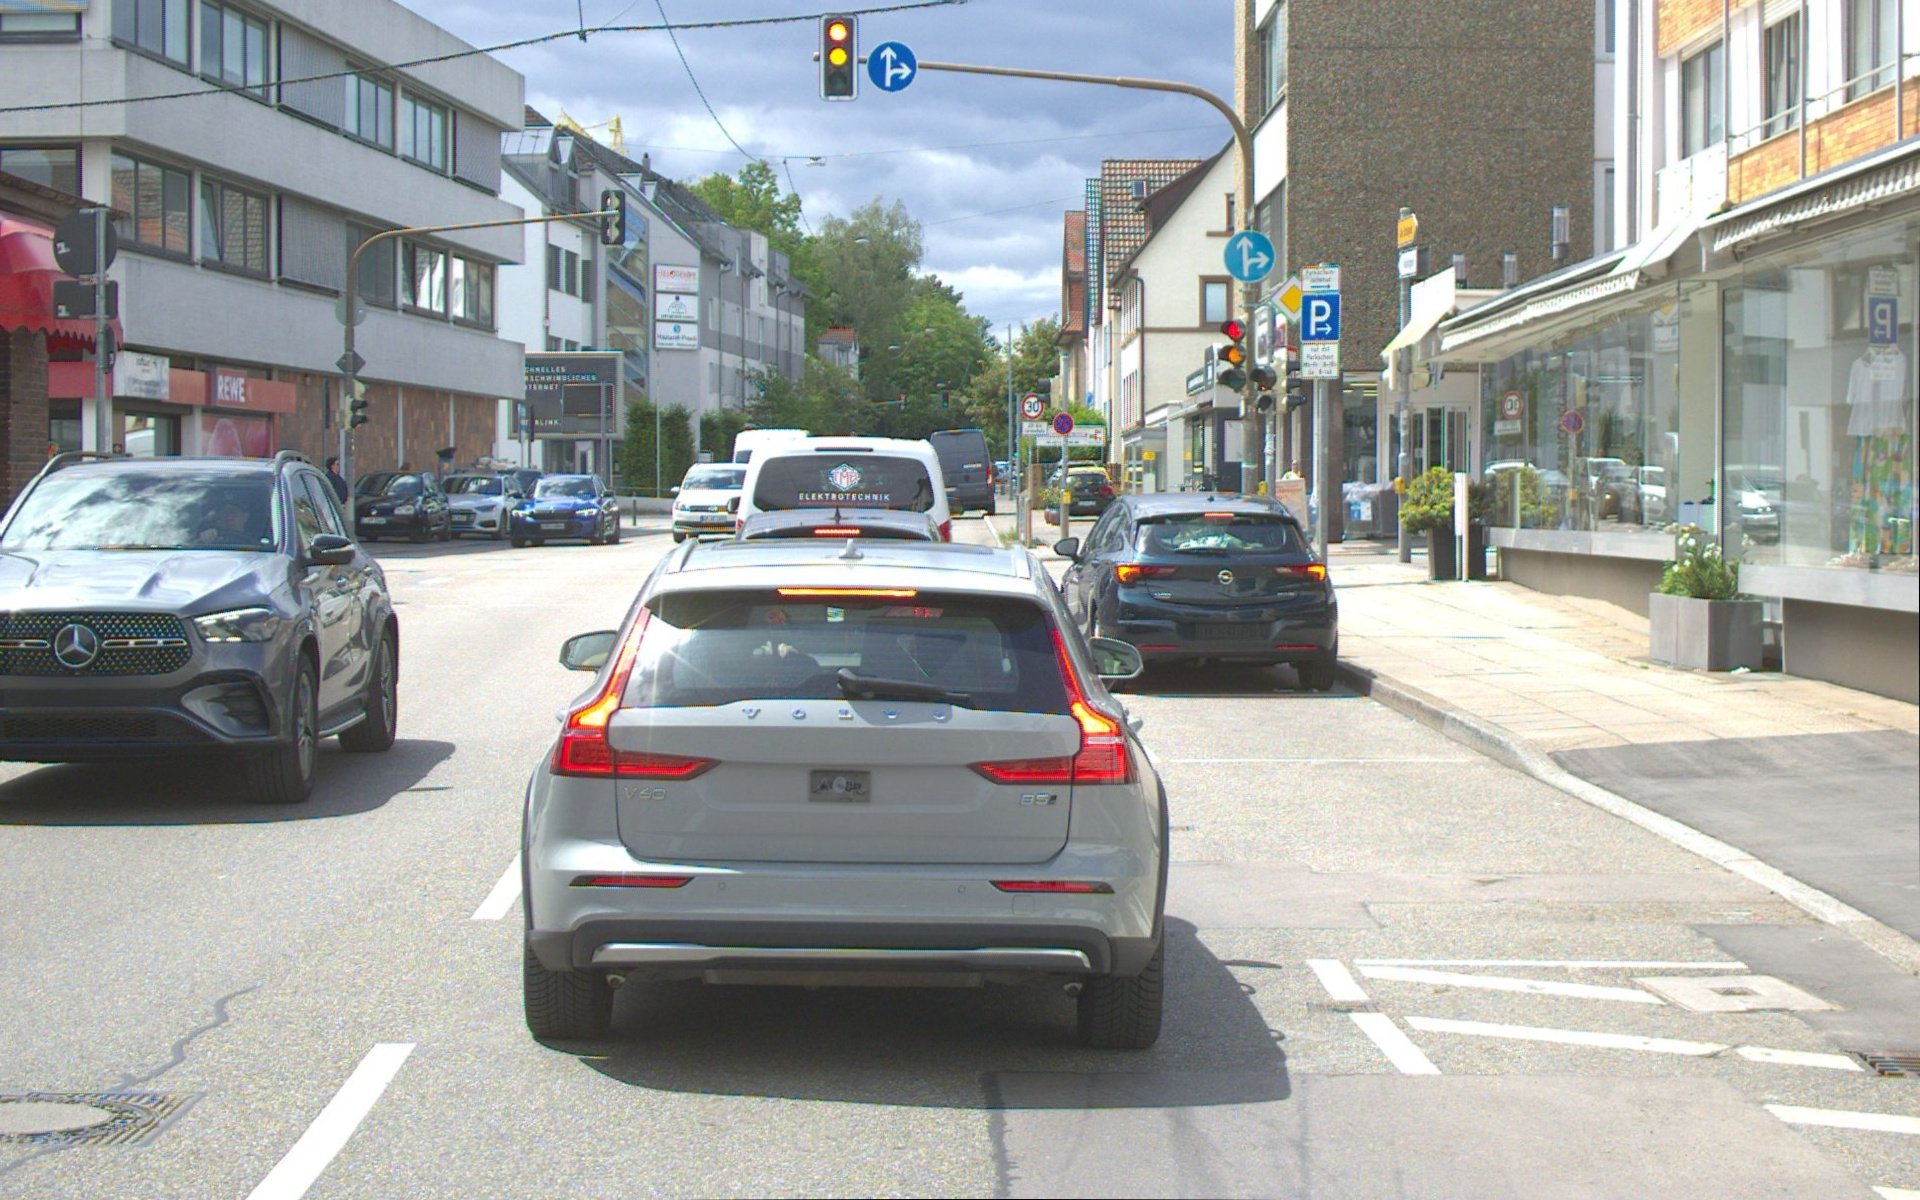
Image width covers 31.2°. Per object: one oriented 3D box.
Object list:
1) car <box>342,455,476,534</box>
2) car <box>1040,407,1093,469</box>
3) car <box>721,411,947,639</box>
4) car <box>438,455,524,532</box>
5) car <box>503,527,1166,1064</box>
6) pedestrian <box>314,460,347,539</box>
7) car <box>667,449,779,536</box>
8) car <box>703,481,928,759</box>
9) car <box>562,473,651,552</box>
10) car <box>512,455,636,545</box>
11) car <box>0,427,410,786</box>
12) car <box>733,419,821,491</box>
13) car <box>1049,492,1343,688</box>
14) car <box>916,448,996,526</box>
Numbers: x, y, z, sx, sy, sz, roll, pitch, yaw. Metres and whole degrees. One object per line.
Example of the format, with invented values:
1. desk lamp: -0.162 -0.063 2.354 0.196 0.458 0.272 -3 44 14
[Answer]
1. car: -11.094 -2.108 69.431 1.993 1.393 4.000 2 0 0
2. car: 3.835 -5.829 124.315 1.802 2.007 4.000 0 0 0
3. car: -1.046 -0.624 30.330 1.836 1.855 3.850 1 0 0
4. car: -10.354 -2.278 74.438 1.384 1.535 3.399 0 0 0
5. car: -0.340 0.504 11.053 1.744 1.412 4.000 0 0 0
6. pedestrian: -11.437 -1.817 62.445 0.514 1.431 0.490 0 1 -19
7. car: -4.942 -2.229 72.185 1.873 1.634 4.000 2 0 2
8. car: -0.840 0.062 21.083 1.273 1.522 3.051 0 3 -1
9. car: -9.707 -2.378 94.598 1.993 2.007 4.000 2 0 0
10. car: -7.731 -1.987 69.186 1.873 1.634 4.000 2 0 2
11. car: -4.205 -0.004 18.667 1.839 1.720 4.352 0 1 -1
12. car: -4.658 -3.688 87.886 1.873 1.634 4.000 0 0 2
13. car: 1.757 -0.134 26.837 1.752 1.366 4.001 0 2 -4
14. car: -0.134 -3.598 110.668 2.436 2.310 5.326 2 1 0
